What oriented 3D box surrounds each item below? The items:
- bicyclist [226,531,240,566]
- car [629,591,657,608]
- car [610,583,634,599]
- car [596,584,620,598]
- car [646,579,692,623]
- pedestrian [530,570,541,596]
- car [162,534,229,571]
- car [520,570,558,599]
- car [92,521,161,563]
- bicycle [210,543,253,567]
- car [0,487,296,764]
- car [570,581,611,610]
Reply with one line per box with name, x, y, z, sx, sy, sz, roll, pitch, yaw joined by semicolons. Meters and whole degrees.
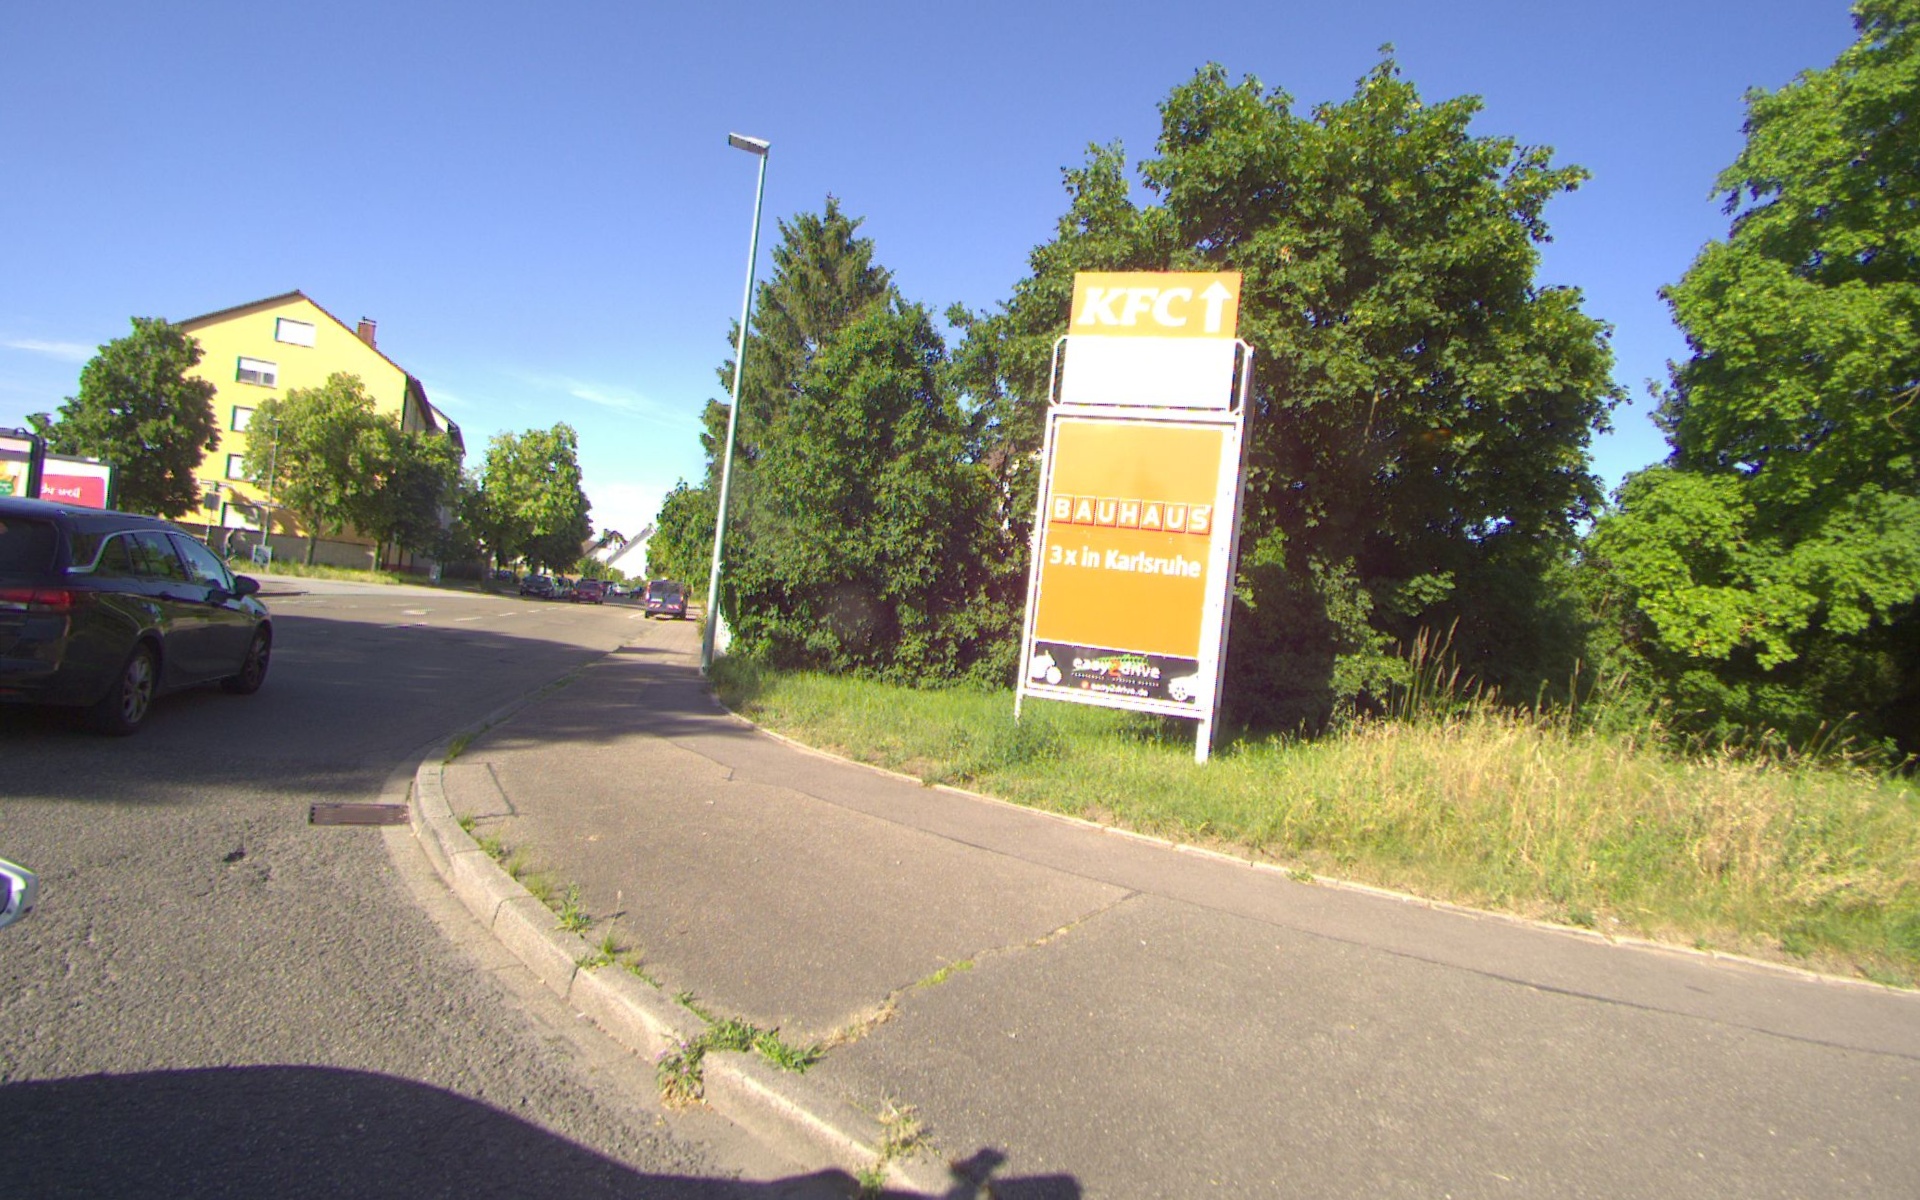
bicyclist;-36.888;-2.608;51.029;0.377;1.705;0.387;3;-2;44
car;-34.978;-0.070;110.973;1.990;1.493;4.263;6;-2;-30
car;-39.921;-1.079;118.738;1.806;1.552;4.227;6;-2;-31
car;-43.088;-1.125;123.171;1.806;1.552;4.227;6;-2;-31
car;-14.583;0.046;50.559;1.813;1.930;4.687;7;-1;-14
pedestrian;-30.180;-1.230;71.543;0.498;1.781;0.693;6;-2;-18
car;-35.758;-2.225;47.161;1.714;1.482;3.855;6;0;-27
car;-26.921;-0.960;64.384;1.681;1.496;4.041;8;-3;-17
car;-38.524;-2.658;46.566;1.684;1.642;3.852;7;-1;-30
bicycle;-36.928;-2.275;51.001;0.401;1.022;1.614;3;-3;44
car;-6.567;0.048;7.388;1.743;1.508;4.273;8;-2;-20
car;-24.136;-0.324;65.911;1.988;1.587;4.379;8;-1;-16
